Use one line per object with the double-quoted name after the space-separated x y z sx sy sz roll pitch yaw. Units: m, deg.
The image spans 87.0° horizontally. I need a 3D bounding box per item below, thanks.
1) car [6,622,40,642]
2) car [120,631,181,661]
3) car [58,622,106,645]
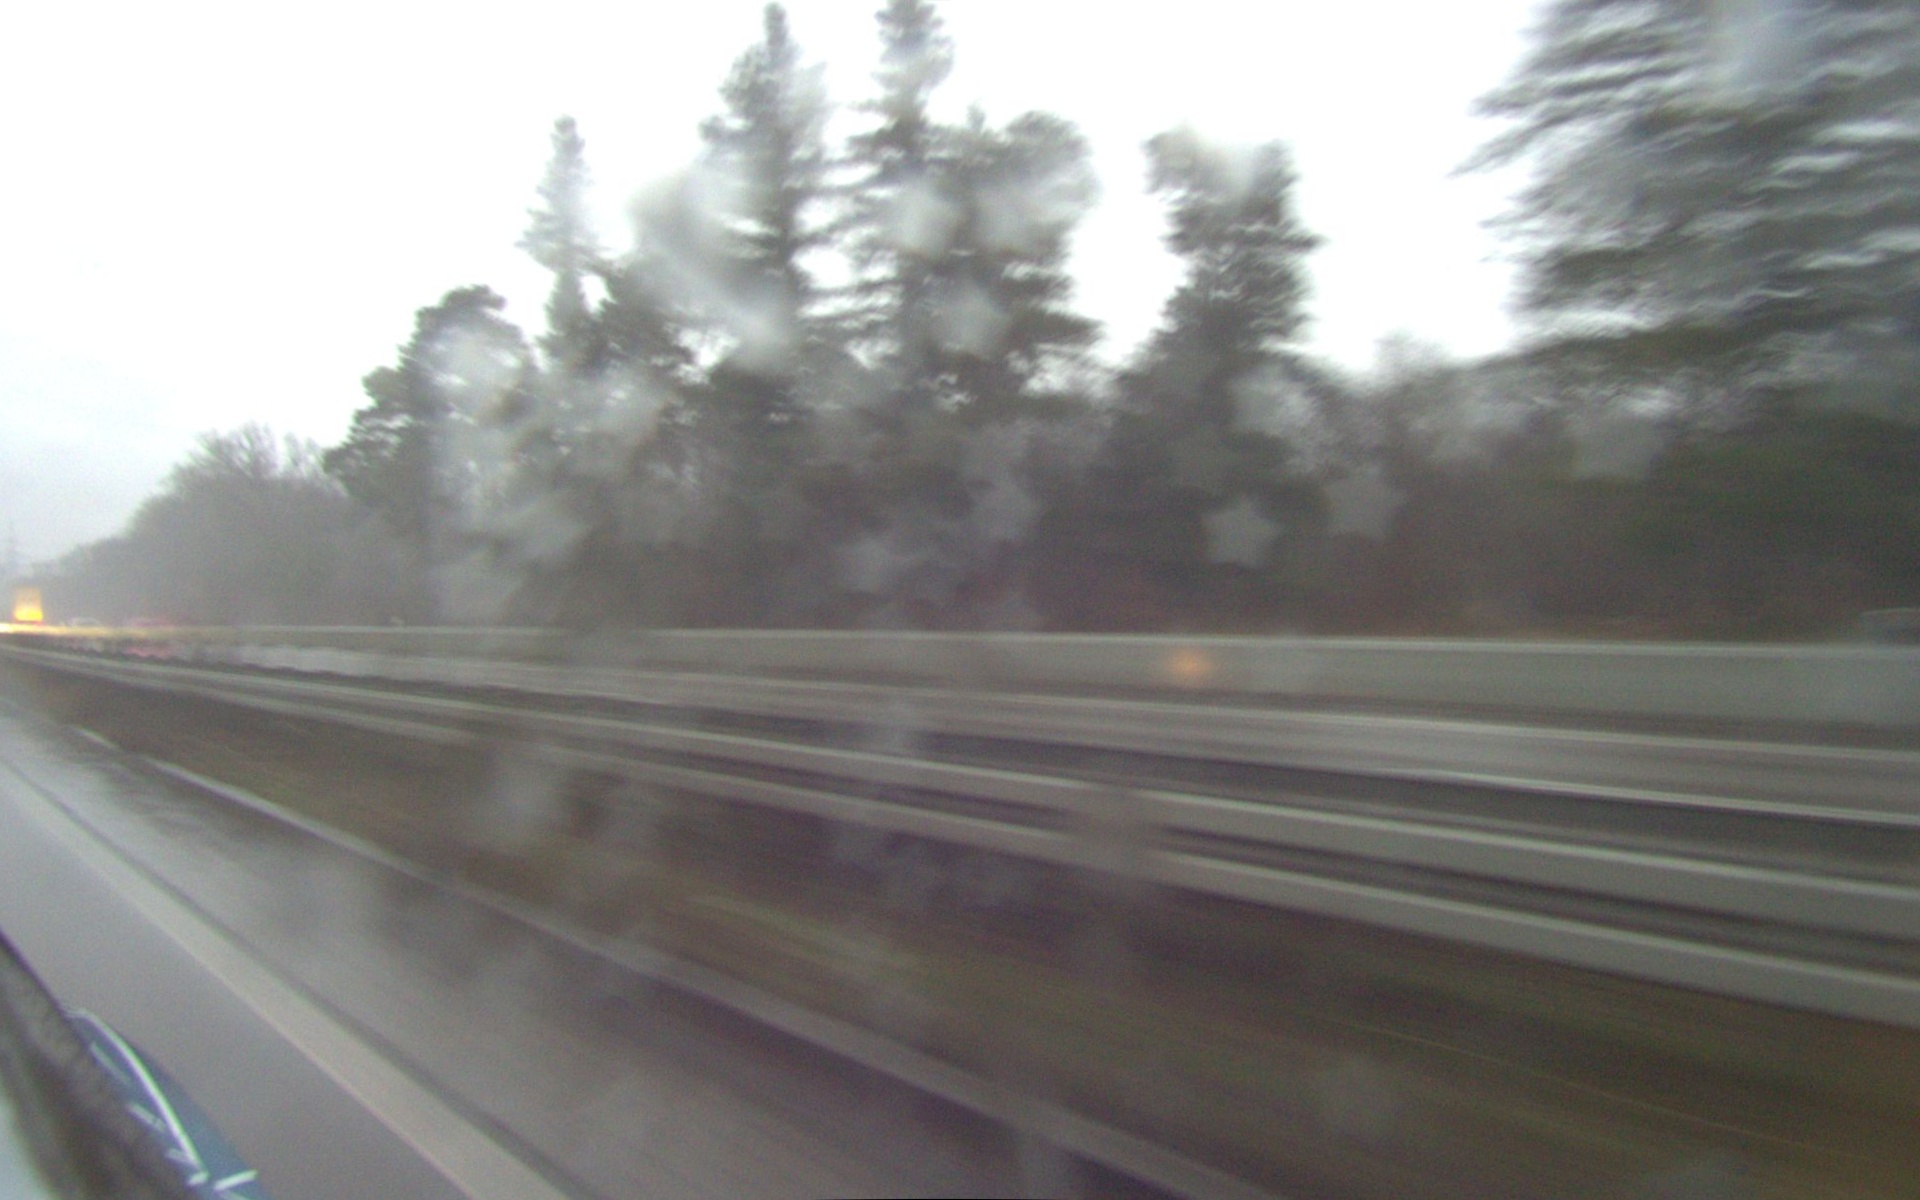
-81.334 2.754 87.802 3.998 1.704 1.793 -1 -1 41 "car"
-40.806 2.301 50.998 3.978 1.399 1.659 -1 -1 40 "car"
-58.197 2.219 67.047 4.038 1.451 1.775 -1 -1 40 "car"
